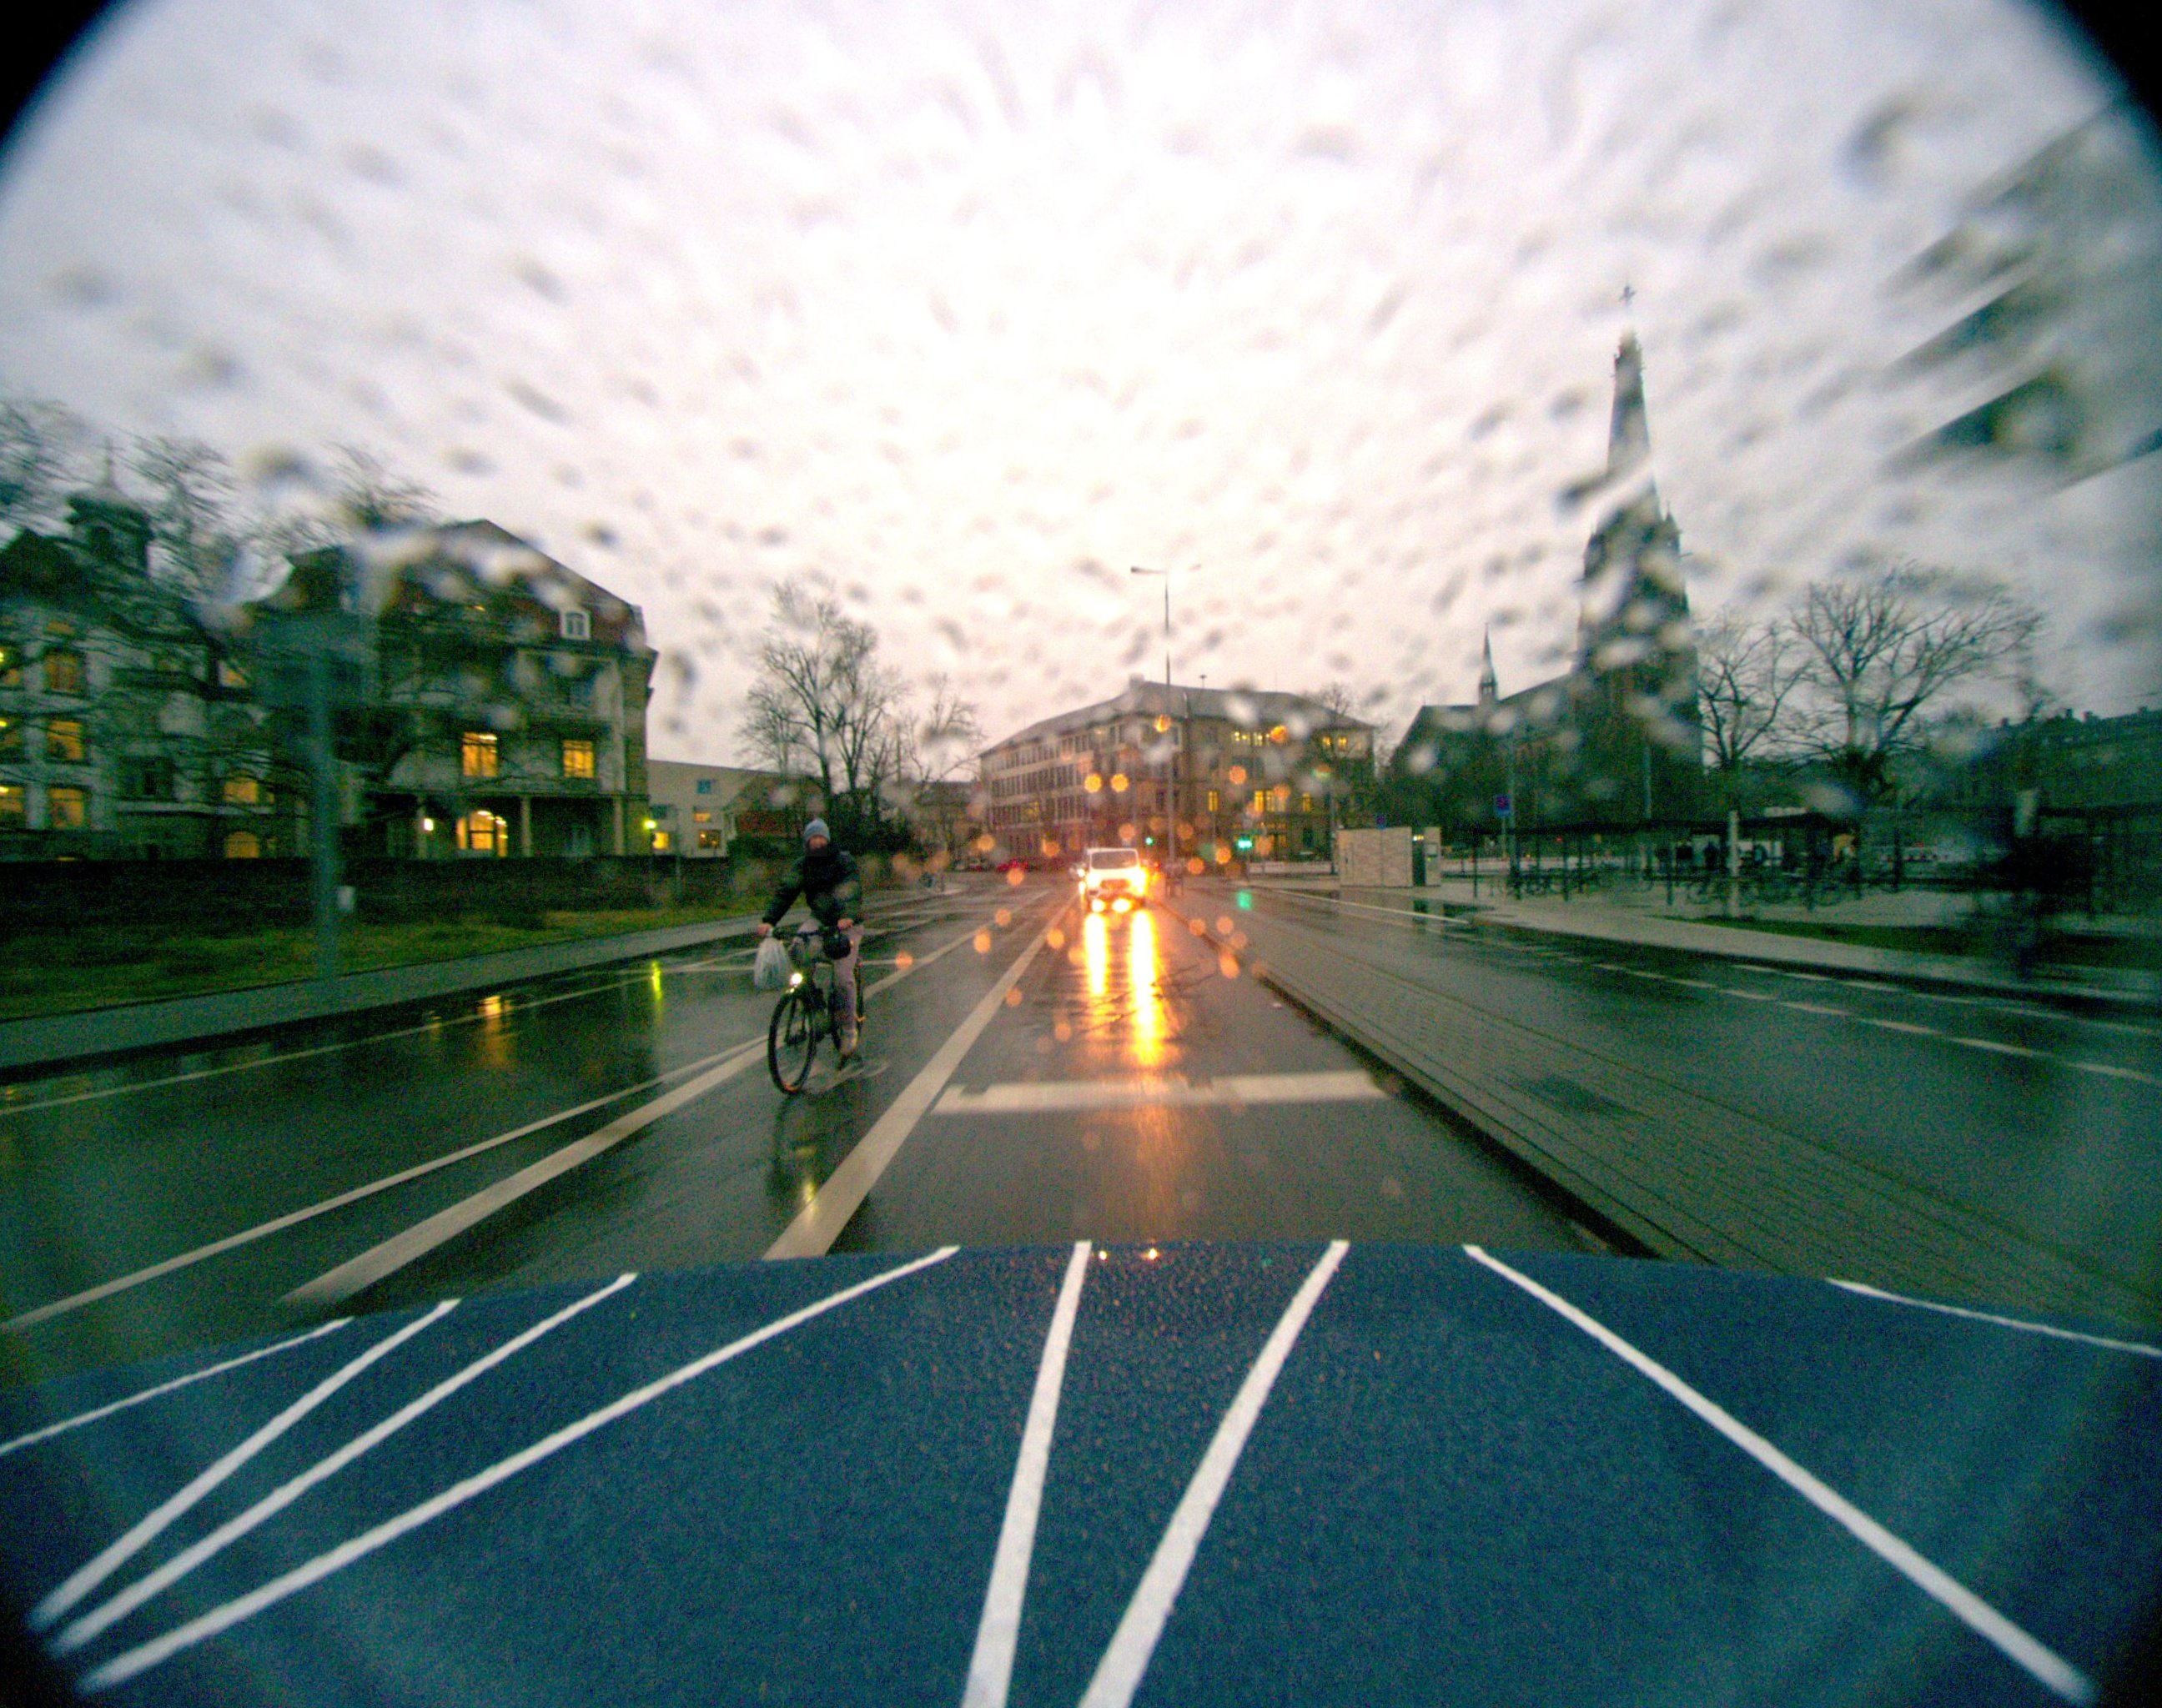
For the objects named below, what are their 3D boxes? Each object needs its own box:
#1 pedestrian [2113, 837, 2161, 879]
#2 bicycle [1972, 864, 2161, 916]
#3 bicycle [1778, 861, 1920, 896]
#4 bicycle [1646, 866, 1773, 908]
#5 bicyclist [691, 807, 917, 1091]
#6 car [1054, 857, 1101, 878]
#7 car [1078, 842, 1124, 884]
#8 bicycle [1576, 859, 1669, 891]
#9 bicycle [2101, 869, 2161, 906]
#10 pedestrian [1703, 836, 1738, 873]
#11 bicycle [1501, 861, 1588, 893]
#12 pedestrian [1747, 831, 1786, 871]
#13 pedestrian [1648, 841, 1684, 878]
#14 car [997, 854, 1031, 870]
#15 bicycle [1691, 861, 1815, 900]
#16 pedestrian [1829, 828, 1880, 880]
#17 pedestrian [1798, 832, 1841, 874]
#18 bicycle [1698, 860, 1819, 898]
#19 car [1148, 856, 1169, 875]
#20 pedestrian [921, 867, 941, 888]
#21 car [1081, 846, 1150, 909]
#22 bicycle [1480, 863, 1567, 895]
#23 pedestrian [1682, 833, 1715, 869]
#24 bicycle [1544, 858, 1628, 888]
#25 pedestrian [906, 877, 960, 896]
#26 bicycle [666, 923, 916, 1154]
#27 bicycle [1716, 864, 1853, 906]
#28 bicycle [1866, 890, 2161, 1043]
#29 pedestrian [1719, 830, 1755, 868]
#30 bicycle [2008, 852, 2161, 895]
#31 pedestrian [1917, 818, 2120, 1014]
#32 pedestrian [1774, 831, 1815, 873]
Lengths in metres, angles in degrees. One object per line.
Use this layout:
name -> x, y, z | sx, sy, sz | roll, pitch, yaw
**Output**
pedestrian -> 45.901, 0.170, 33.043 | 0.947, 1.820, 0.809 | -1, 0, 1
bicycle -> 22.909, 0.795, 17.695 | 0.609, 1.098, 2.744 | -4, 1, -37
bicycle -> 25.109, 0.776, 24.948 | 0.796, 1.043, 3.186 | -2, 0, -34
bicycle -> 18.180, 0.952, 22.075 | 0.648, 1.098, 2.745 | -4, 0, -30
bicyclist -> -1.998, 0.623, 5.702 | 1.025, 1.872, 1.236 | -1, 2, 11
car -> -0.331, 1.108, 60.891 | 1.792, 1.536, 4.109 | -3, -1, -33
car -> 1.258, 0.569, 50.401 | 2.347, 2.503, 5.865 | -3, 0, -4
bicycle -> 20.141, 0.801, 28.349 | 0.648, 1.098, 2.745 | -4, 0, -30
bicycle -> 26.284, 0.812, 18.397 | 0.608, 0.866, 1.859 | -1, 0, -34
pedestrian -> 31.940, 0.030, 37.983 | 1.034, 1.839, 0.848 | -1, 0, 1
bicycle -> 17.157, 0.855, 28.238 | 0.648, 1.098, 2.745 | -4, 0, -30
pedestrian -> 33.178, -0.130, 36.770 | 1.034, 1.839, 0.848 | -4, 0, 1
pedestrian -> 30.227, 0.280, 39.292 | 1.049, 1.839, 0.848 | -5, 0, 1
car -> -8.573, 1.021, 96.606 | 2.145, 1.999, 4.559 | -1, 0, -38
bicycle -> 20.602, 0.835, 23.370 | 0.648, 1.098, 2.744 | -4, 0, -39
pedestrian -> 26.402, -0.010, 25.951 | 0.815, 1.672, 0.848 | -5, 3, 1
pedestrian -> 33.491, -0.040, 34.476 | 1.034, 1.839, 0.848 | -4, 0, 1
bicycle -> 21.210, 0.763, 23.860 | 0.648, 1.098, 2.743 | -4, 1, -39
car -> 7.051, 1.037, 69.601 | 1.677, 1.585, 4.001 | -2, 0, 3
pedestrian -> -9.399, 1.480, 47.622 | 0.984, 1.309, 0.813 | -1, 0, -28
car -> 1.205, 0.777, 27.195 | 2.136, 1.910, 5.017 | -3, 0, 2
bicycle -> 16.081, 0.920, 27.720 | 0.648, 1.098, 2.745 | -4, 0, -30
pedestrian -> 31.603, -0.155, 38.892 | 1.034, 1.839, 0.848 | -1, 0, 1
bicycle -> 20.221, 0.775, 30.525 | 0.648, 1.098, 2.745 | -4, 0, -33
pedestrian -> -9.272, 2.032, 47.652 | 3.104, 0.925, 0.946 | -3, 0, -28
bicycle -> -2.055, 1.249, 5.757 | 0.793, 1.216, 1.905 | -1, 2, 13
bicycle -> 19.879, 0.868, 21.568 | 0.648, 1.098, 2.745 | -4, 0, -30
bicycle -> 8.820, 0.967, 7.201 | 0.624, 1.169, 1.871 | 0, 0, -10
pedestrian -> 31.946, -0.244, 37.016 | 1.034, 1.839, 0.802 | -1, 0, 1
bicycle -> 28.040, 0.543, 21.149 | 0.648, 1.098, 2.745 | -4, 0, -30
pedestrian -> 8.838, 0.547, 7.210 | 0.717, 1.723, 0.981 | 0, 0, -10
pedestrian -> 33.386, -0.091, 35.547 | 1.034, 1.839, 0.848 | -4, 0, 1
